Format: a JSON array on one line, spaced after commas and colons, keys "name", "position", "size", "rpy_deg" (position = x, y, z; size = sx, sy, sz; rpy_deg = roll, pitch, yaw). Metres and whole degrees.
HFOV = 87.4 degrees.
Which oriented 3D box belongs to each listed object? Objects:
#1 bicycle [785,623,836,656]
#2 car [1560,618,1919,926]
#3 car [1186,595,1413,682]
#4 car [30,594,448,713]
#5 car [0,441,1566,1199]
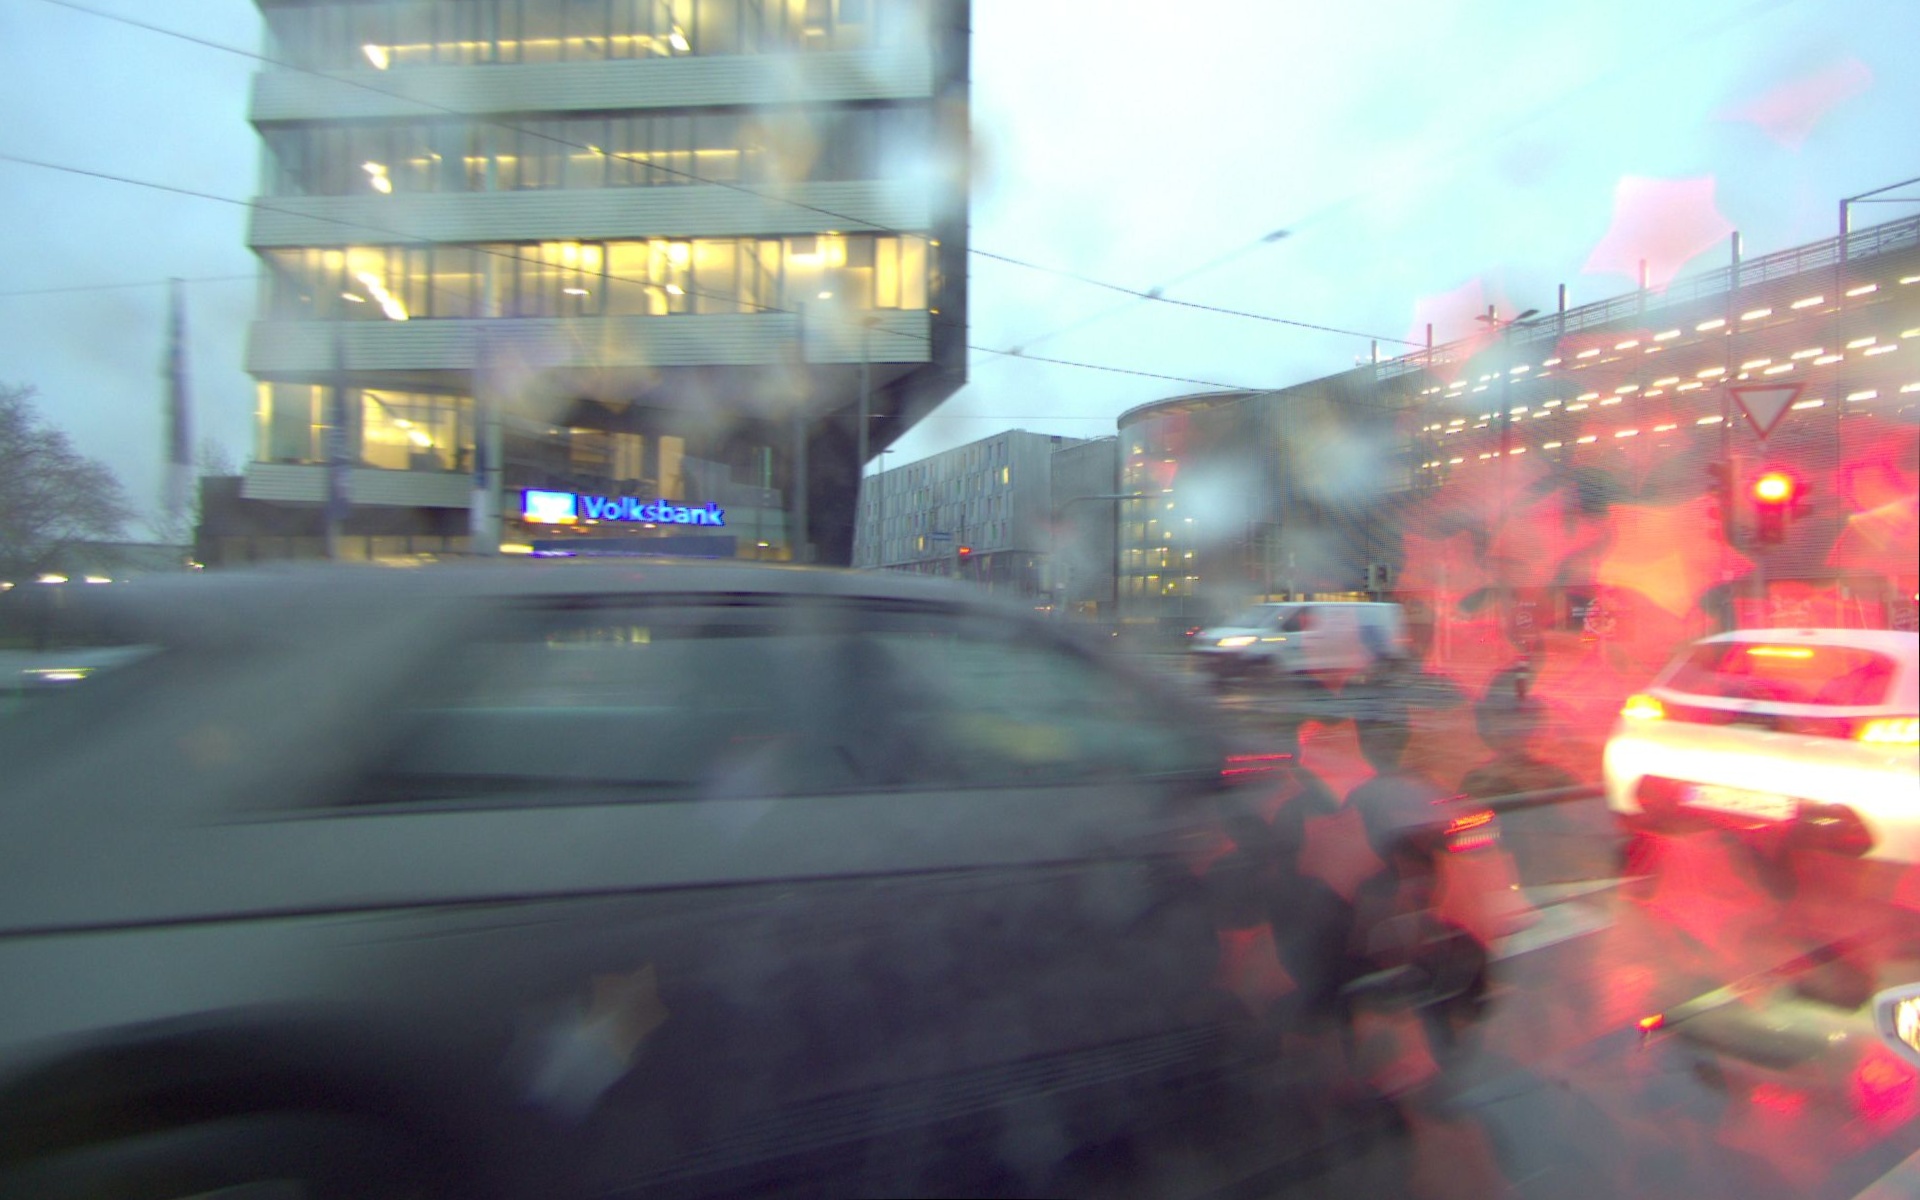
[{"name": "bicycle", "position": [-5.032, 1.322, 33.773], "size": [1.581, 1.084, 0.638], "rpy_deg": [0, -1, -28]}, {"name": "car", "position": [5.878, 0.897, 6.631], "size": [3.874, 1.483, 1.748], "rpy_deg": [2, -1, -32]}, {"name": "car", "position": [7.949, 0.906, 23.580], "size": [4.882, 1.896, 1.899], "rpy_deg": [1, -1, -16]}, {"name": "car", "position": [-9.673, 0.710, 13.886], "size": [4.432, 1.404, 1.629], "rpy_deg": [2, -2, -35]}, {"name": "car", "position": [-0.322, 0.645, 2.919], "size": [4.312, 1.591, 1.811], "rpy_deg": [2, -2, -32]}]
